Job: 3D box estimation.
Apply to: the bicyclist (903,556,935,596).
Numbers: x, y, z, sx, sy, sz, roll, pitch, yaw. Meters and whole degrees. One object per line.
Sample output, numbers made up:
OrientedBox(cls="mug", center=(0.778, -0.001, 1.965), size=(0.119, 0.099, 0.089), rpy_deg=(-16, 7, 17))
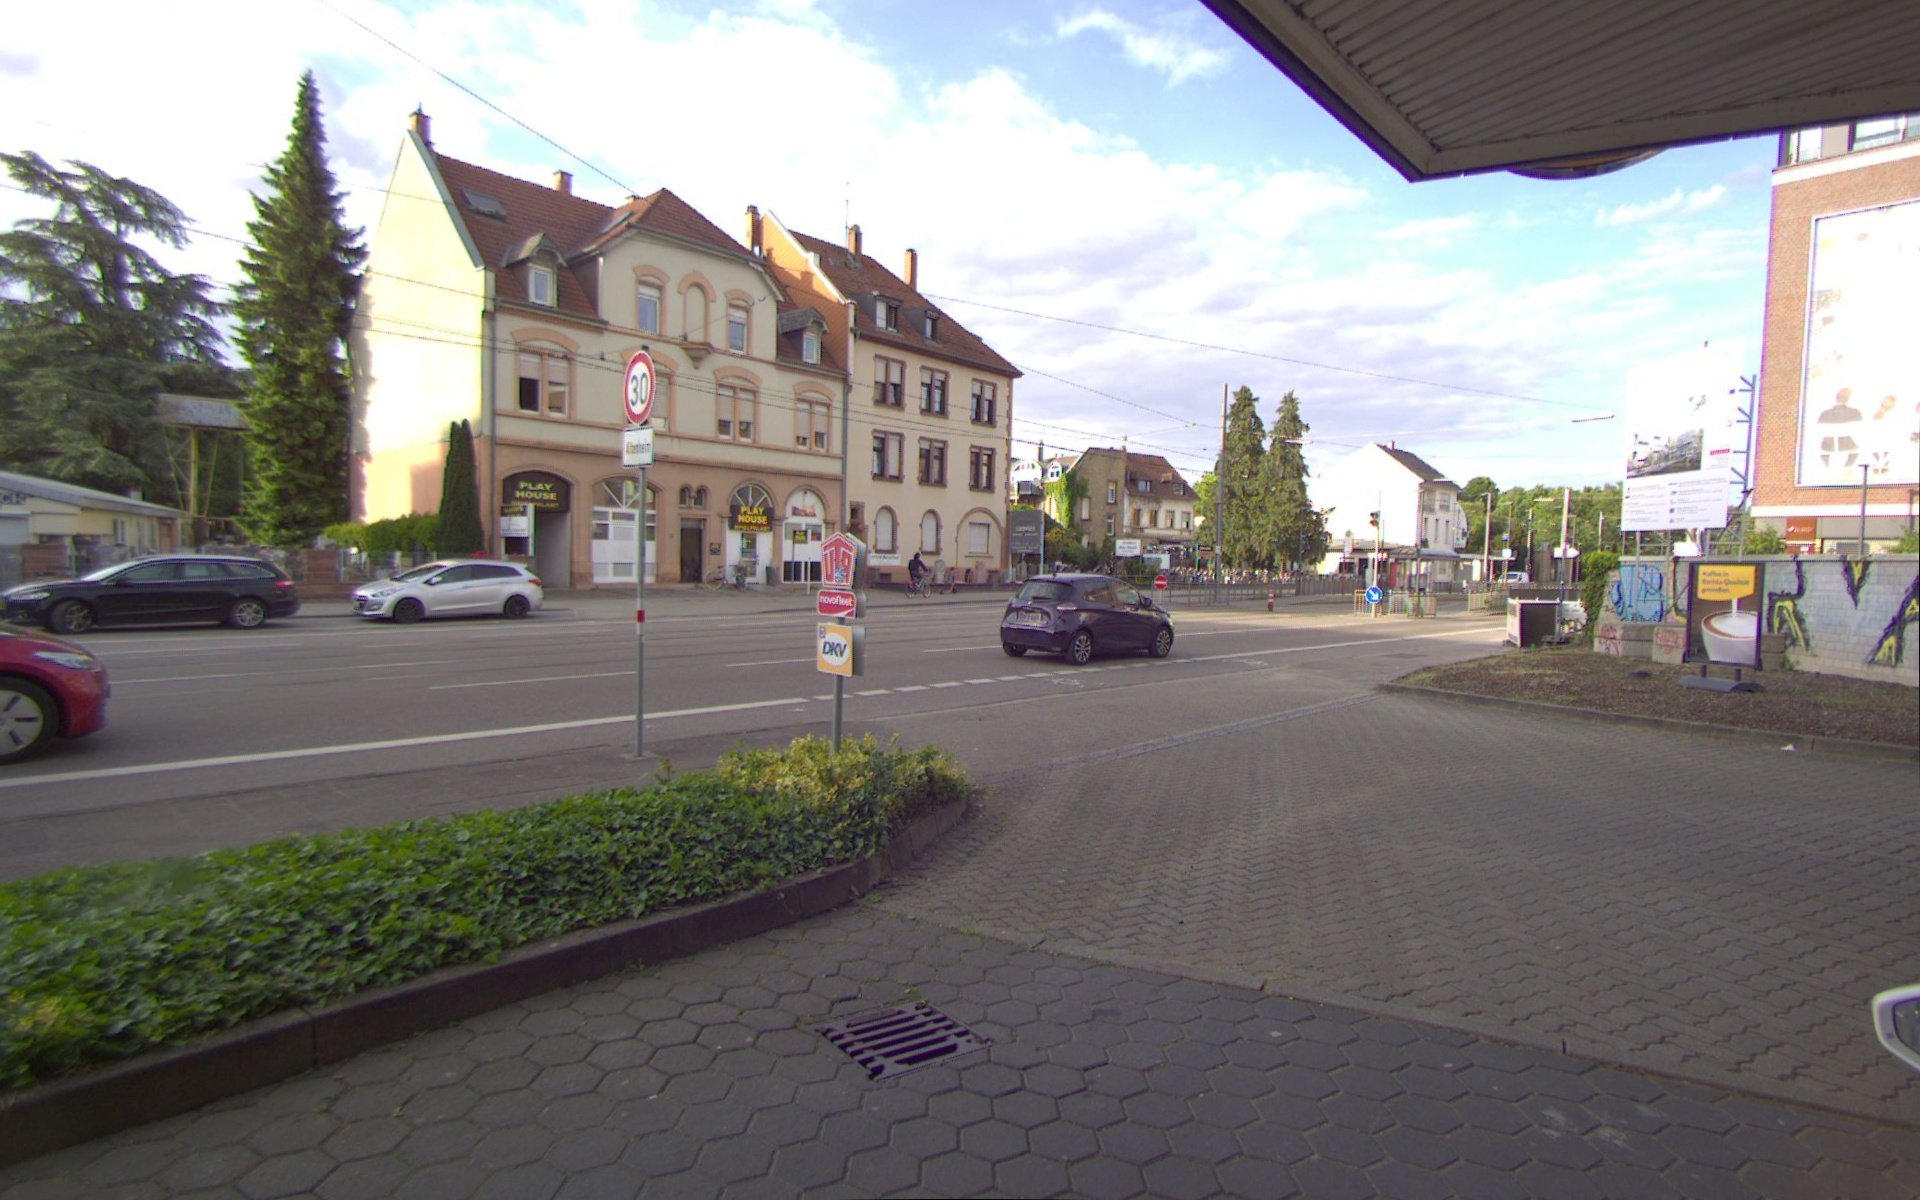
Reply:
OrientedBox(cls="bicyclist", center=(-1.694, -0.985, 41.648), size=(0.833, 1.579, 0.960), rpy_deg=(8, 6, 39))

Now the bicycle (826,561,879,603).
OrientedBox(cls="bicycle", center=(-4.039, -0.691, 37.894), size=(0.776, 1.512, 1.982), rpy_deg=(6, 5, 39))

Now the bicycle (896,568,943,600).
OrientedBox(cls="bicycle", center=(-1.662, -0.671, 41.735), size=(0.833, 1.219, 1.897), rpy_deg=(8, 6, 38))

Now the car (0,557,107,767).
OrientedBox(cls="car", center=(-8.946, 0.464, 7.211), size=(1.744, 1.564, 4.109), rpy_deg=(5, 4, 41))

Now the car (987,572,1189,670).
OrientedBox(cls="car", center=(2.487, 0.307, 18.871), size=(1.707, 1.564, 3.976), rpy_deg=(5, 4, 43))

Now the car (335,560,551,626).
OrientedBox(cls="car", center=(-12.992, -0.242, 25.475), size=(1.970, 1.495, 4.467), rpy_deg=(3, 3, 40))

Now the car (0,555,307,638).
OrientedBox(cls="car", center=(-16.560, -0.143, 20.743), size=(1.970, 1.516, 4.801), rpy_deg=(3, 3, 40))

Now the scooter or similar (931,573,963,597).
OrientedBox(cls="scooter or similar", center=(-0.589, -0.688, 45.147), size=(0.488, 1.015, 1.592), rpy_deg=(5, 5, 39))

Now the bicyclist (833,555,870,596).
OrientedBox(cls="bicyclist", center=(-4.092, -0.923, 37.822), size=(0.776, 1.512, 1.091), rpy_deg=(6, 5, 39))

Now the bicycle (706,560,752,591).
OrientedBox(cls="bicycle", center=(-9.134, -0.951, 39.720), size=(0.508, 1.189, 1.809), rpy_deg=(4, 2, 40))

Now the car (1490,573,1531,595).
OrientedBox(cls="car", center=(49.960, -1.427, 91.060), size=(4.380, 1.915, 1.943), rpy_deg=(0, 3, -43))
